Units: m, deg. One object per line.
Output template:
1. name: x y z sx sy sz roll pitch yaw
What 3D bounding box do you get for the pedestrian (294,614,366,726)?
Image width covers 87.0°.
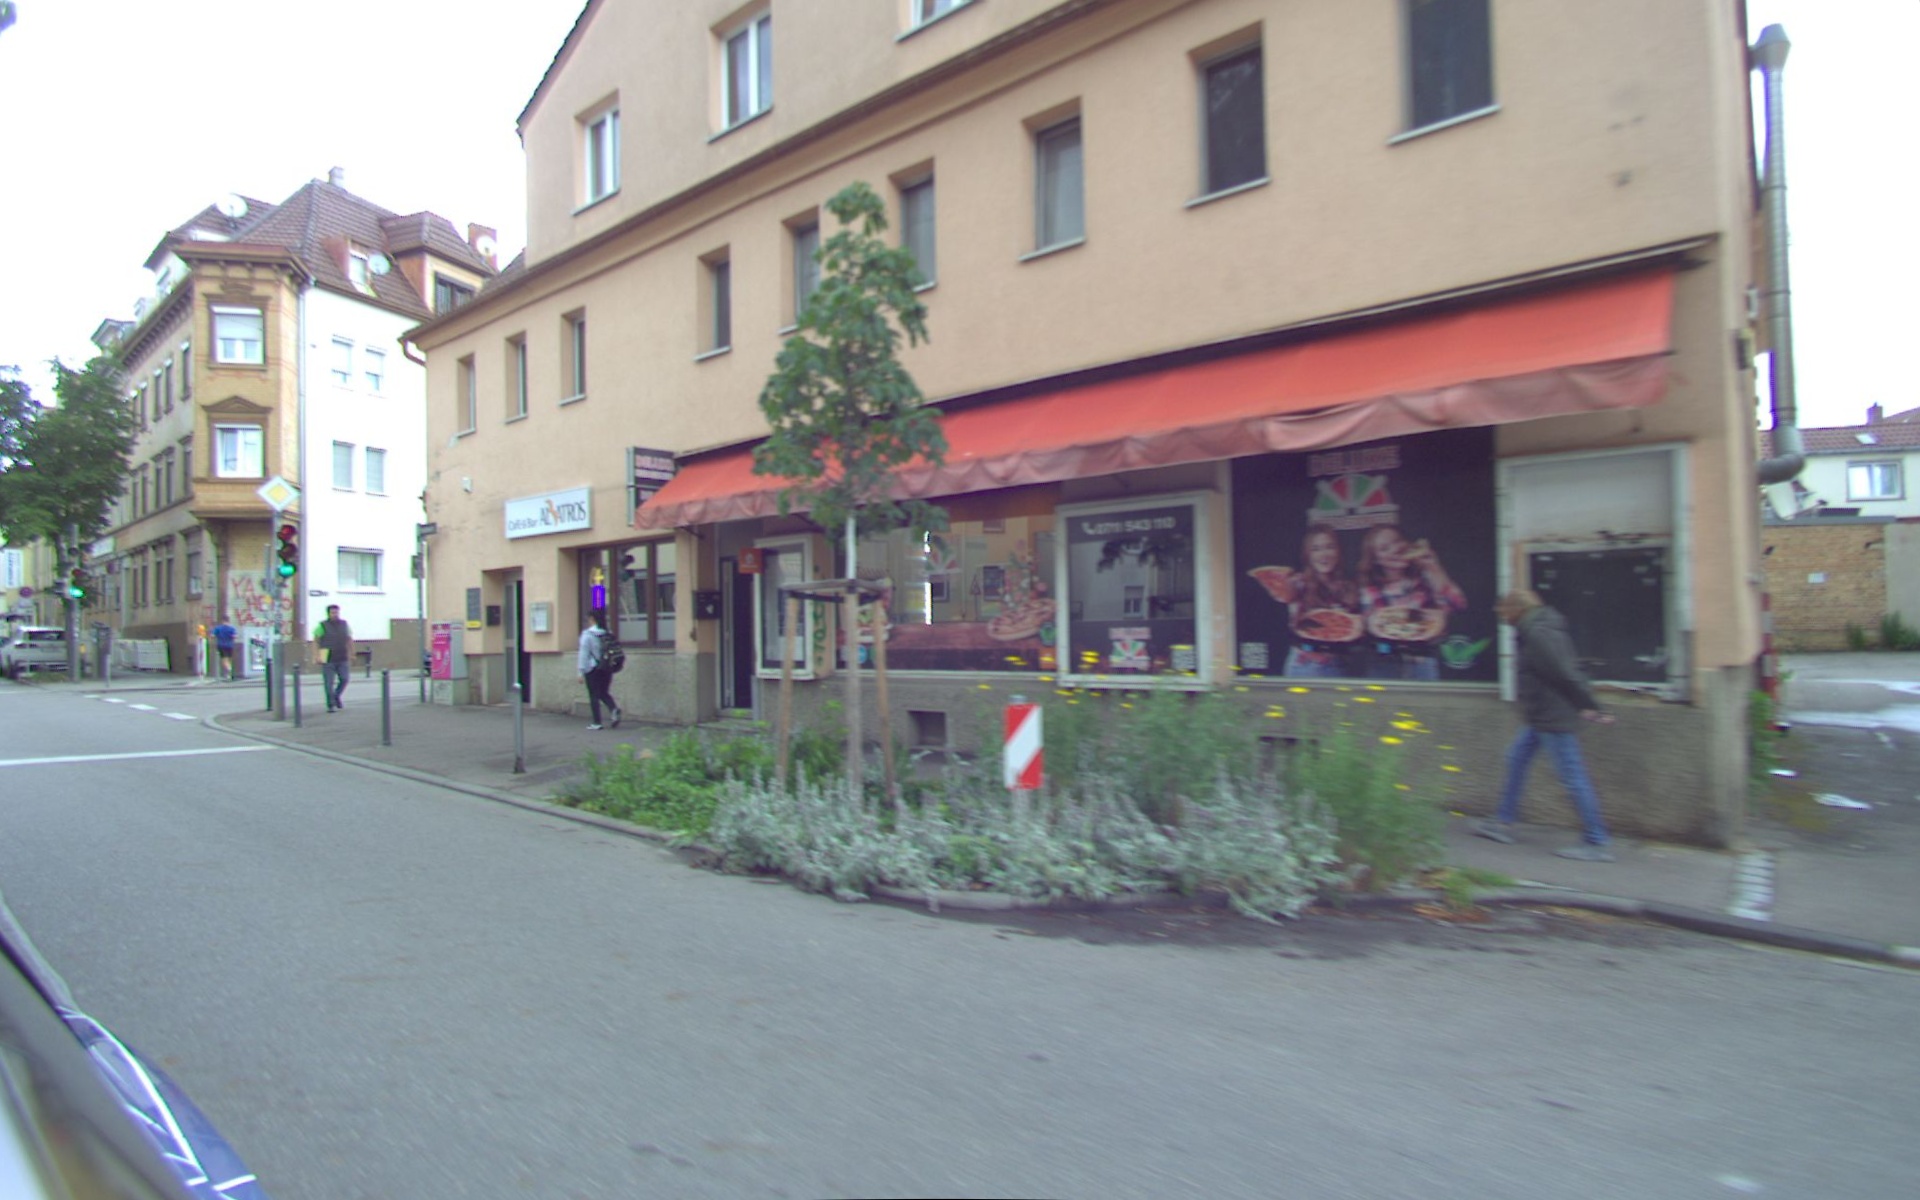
1. pedestrian: -10.404 1.131 16.708 0.982 1.767 0.731 -2 -1 41

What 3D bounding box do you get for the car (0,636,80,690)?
1. car: -31.831 2.106 34.724 4.740 1.725 1.870 -2 -3 42

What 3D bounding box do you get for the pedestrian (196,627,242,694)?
1. pedestrian: -20.072 1.627 27.409 1.155 1.731 0.731 -2 -1 39

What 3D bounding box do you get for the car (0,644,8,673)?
1. car: -49.829 2.975 51.595 4.354 1.393 1.561 -2 -3 43

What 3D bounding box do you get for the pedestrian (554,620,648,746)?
1. pedestrian: -4.686 1.054 13.190 0.982 1.546 0.731 -2 -1 40

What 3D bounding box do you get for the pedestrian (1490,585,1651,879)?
1. pedestrian: 3.734 0.750 6.185 0.757 1.641 0.724 -2 -2 35

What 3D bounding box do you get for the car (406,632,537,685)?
1. car: -15.826 1.850 32.962 1.762 1.563 3.697 -2 -1 20
